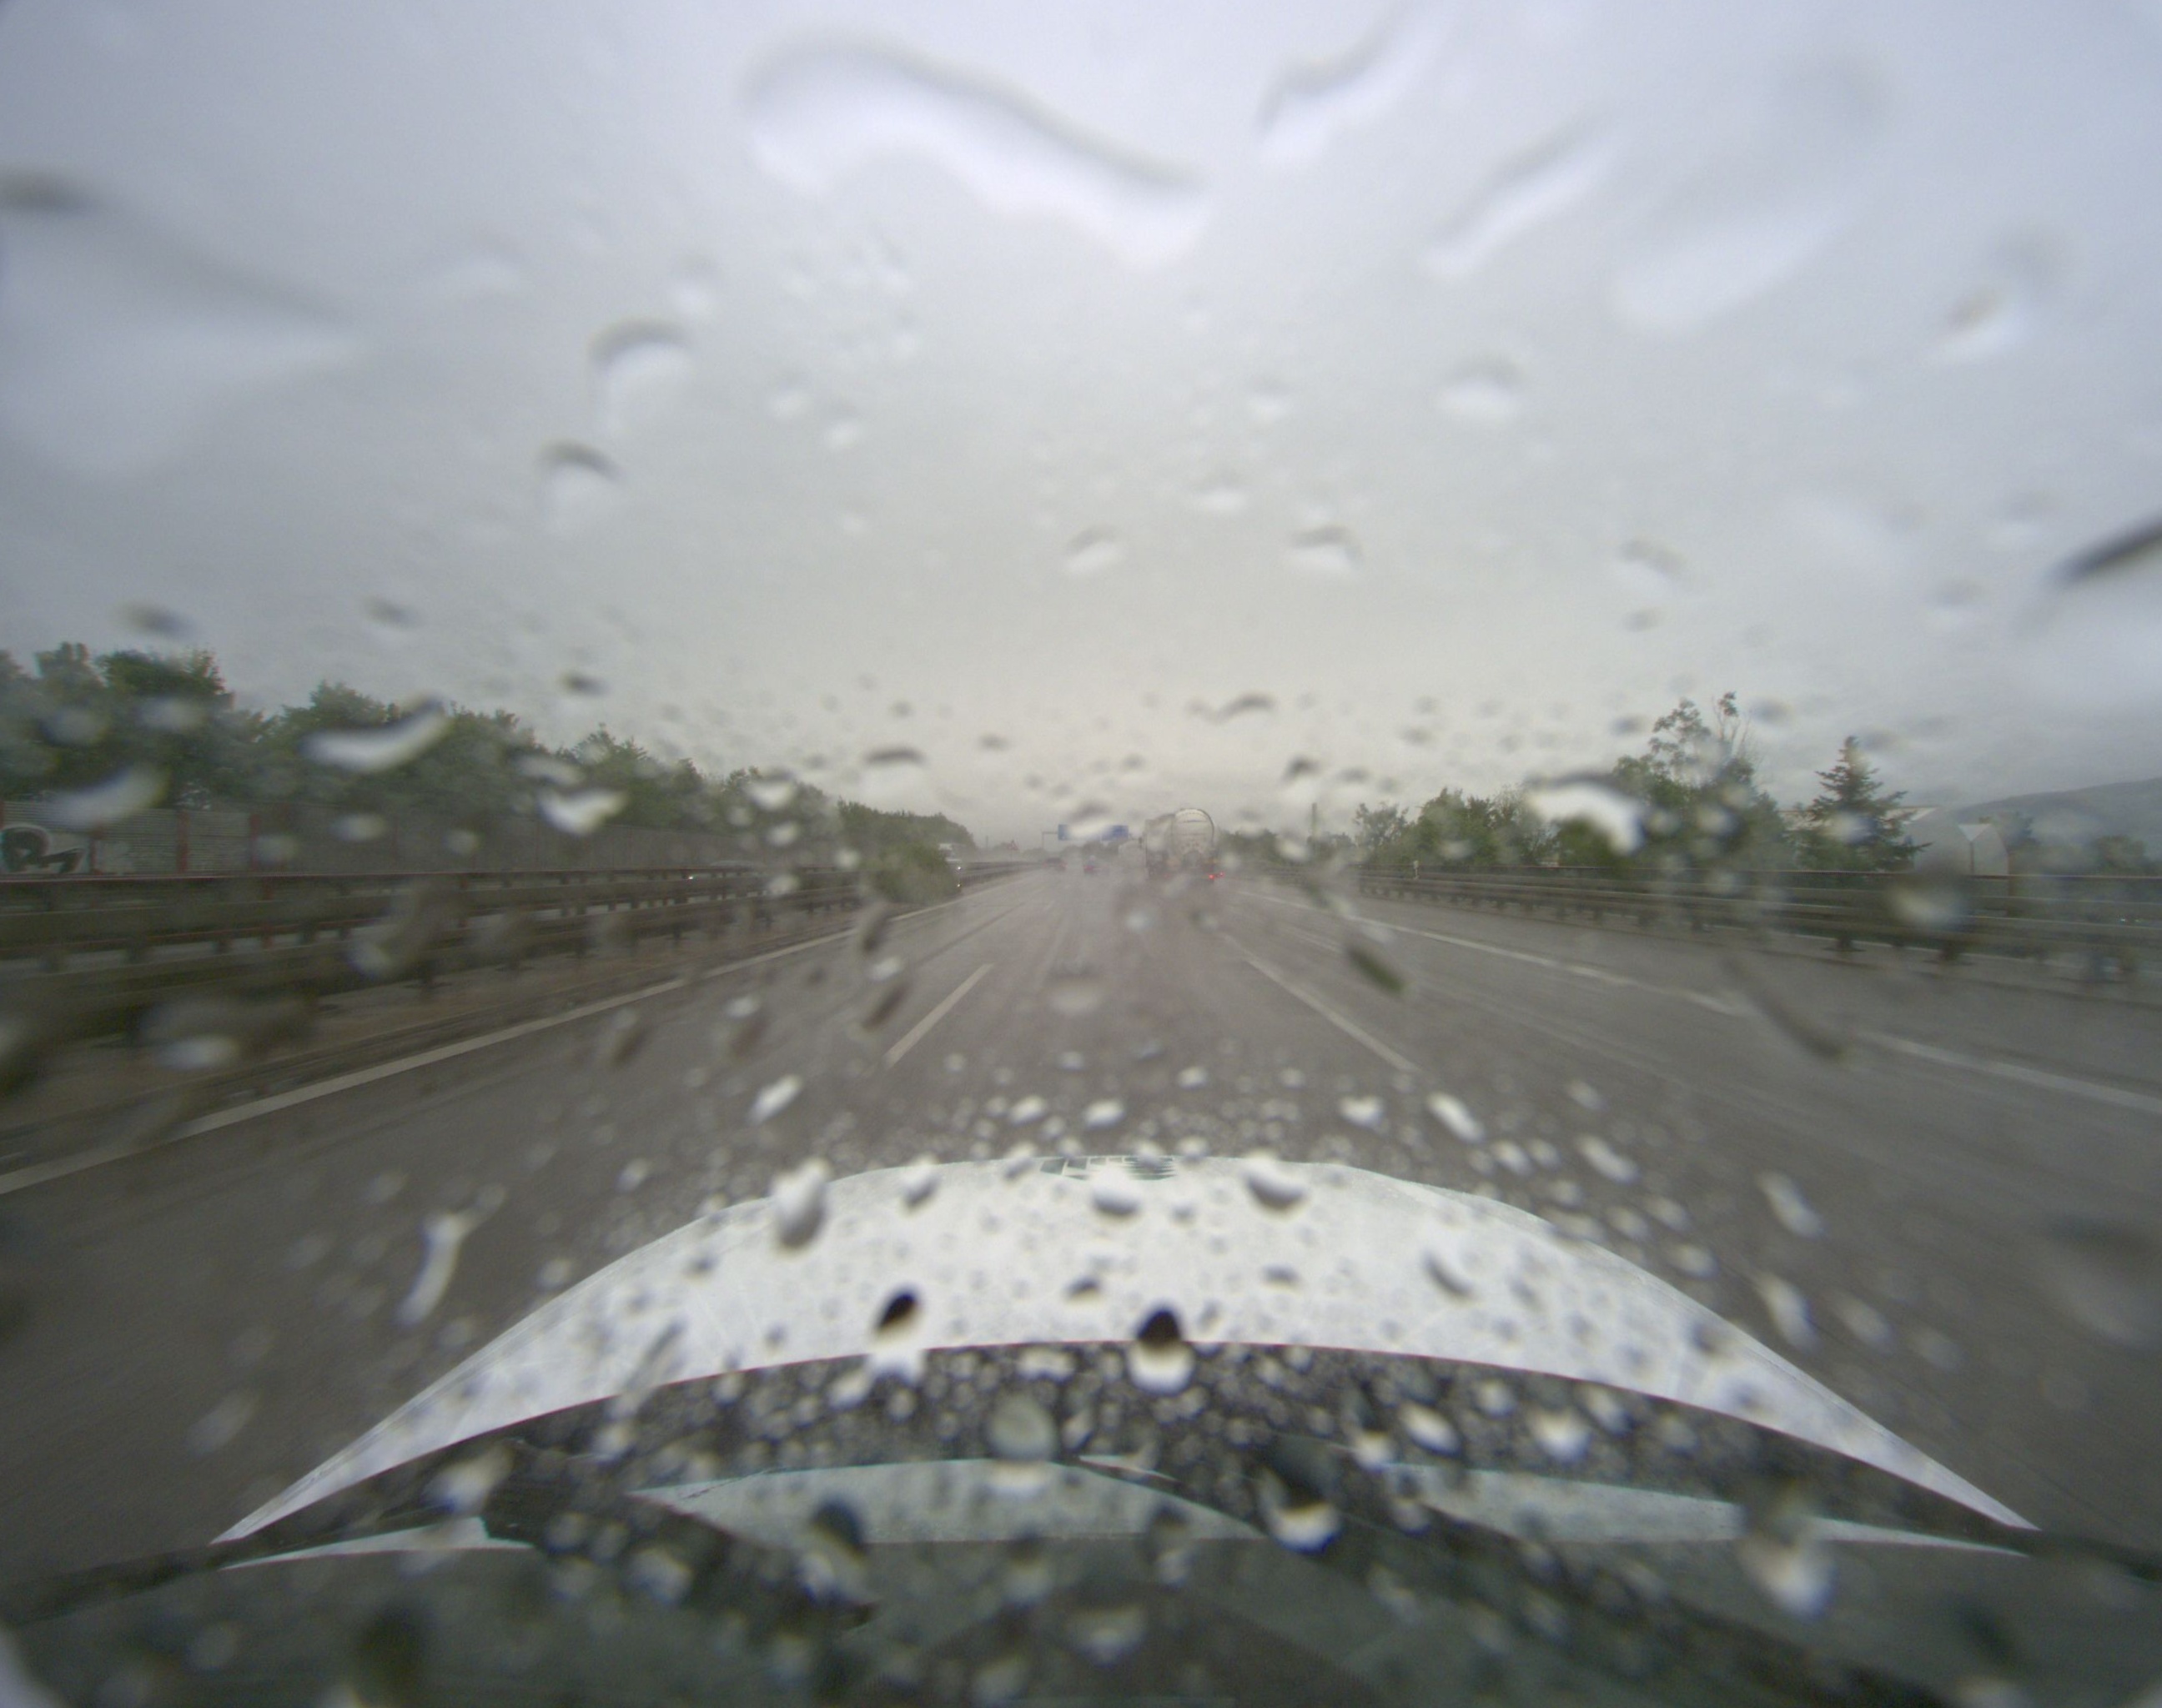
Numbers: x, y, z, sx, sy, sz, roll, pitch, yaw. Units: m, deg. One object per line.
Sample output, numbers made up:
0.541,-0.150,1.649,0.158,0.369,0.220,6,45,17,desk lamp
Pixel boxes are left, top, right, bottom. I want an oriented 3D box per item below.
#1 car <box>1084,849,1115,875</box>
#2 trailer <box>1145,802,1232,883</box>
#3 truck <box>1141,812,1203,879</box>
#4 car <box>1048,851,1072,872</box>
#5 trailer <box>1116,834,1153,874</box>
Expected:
1.391,0.561,58.130,1.970,1.756,4.486,-1,0,4,car
5.333,-0.510,42.787,3.177,3.670,11.667,0,0,1,trailer
5.419,-0.483,49.860,3.094,3.806,7.213,0,0,1,truck
-1.816,0.646,72.279,1.918,1.741,4.405,-1,0,1,car
5.357,0.006,82.876,2.996,3.848,8.618,0,0,-2,trailer
